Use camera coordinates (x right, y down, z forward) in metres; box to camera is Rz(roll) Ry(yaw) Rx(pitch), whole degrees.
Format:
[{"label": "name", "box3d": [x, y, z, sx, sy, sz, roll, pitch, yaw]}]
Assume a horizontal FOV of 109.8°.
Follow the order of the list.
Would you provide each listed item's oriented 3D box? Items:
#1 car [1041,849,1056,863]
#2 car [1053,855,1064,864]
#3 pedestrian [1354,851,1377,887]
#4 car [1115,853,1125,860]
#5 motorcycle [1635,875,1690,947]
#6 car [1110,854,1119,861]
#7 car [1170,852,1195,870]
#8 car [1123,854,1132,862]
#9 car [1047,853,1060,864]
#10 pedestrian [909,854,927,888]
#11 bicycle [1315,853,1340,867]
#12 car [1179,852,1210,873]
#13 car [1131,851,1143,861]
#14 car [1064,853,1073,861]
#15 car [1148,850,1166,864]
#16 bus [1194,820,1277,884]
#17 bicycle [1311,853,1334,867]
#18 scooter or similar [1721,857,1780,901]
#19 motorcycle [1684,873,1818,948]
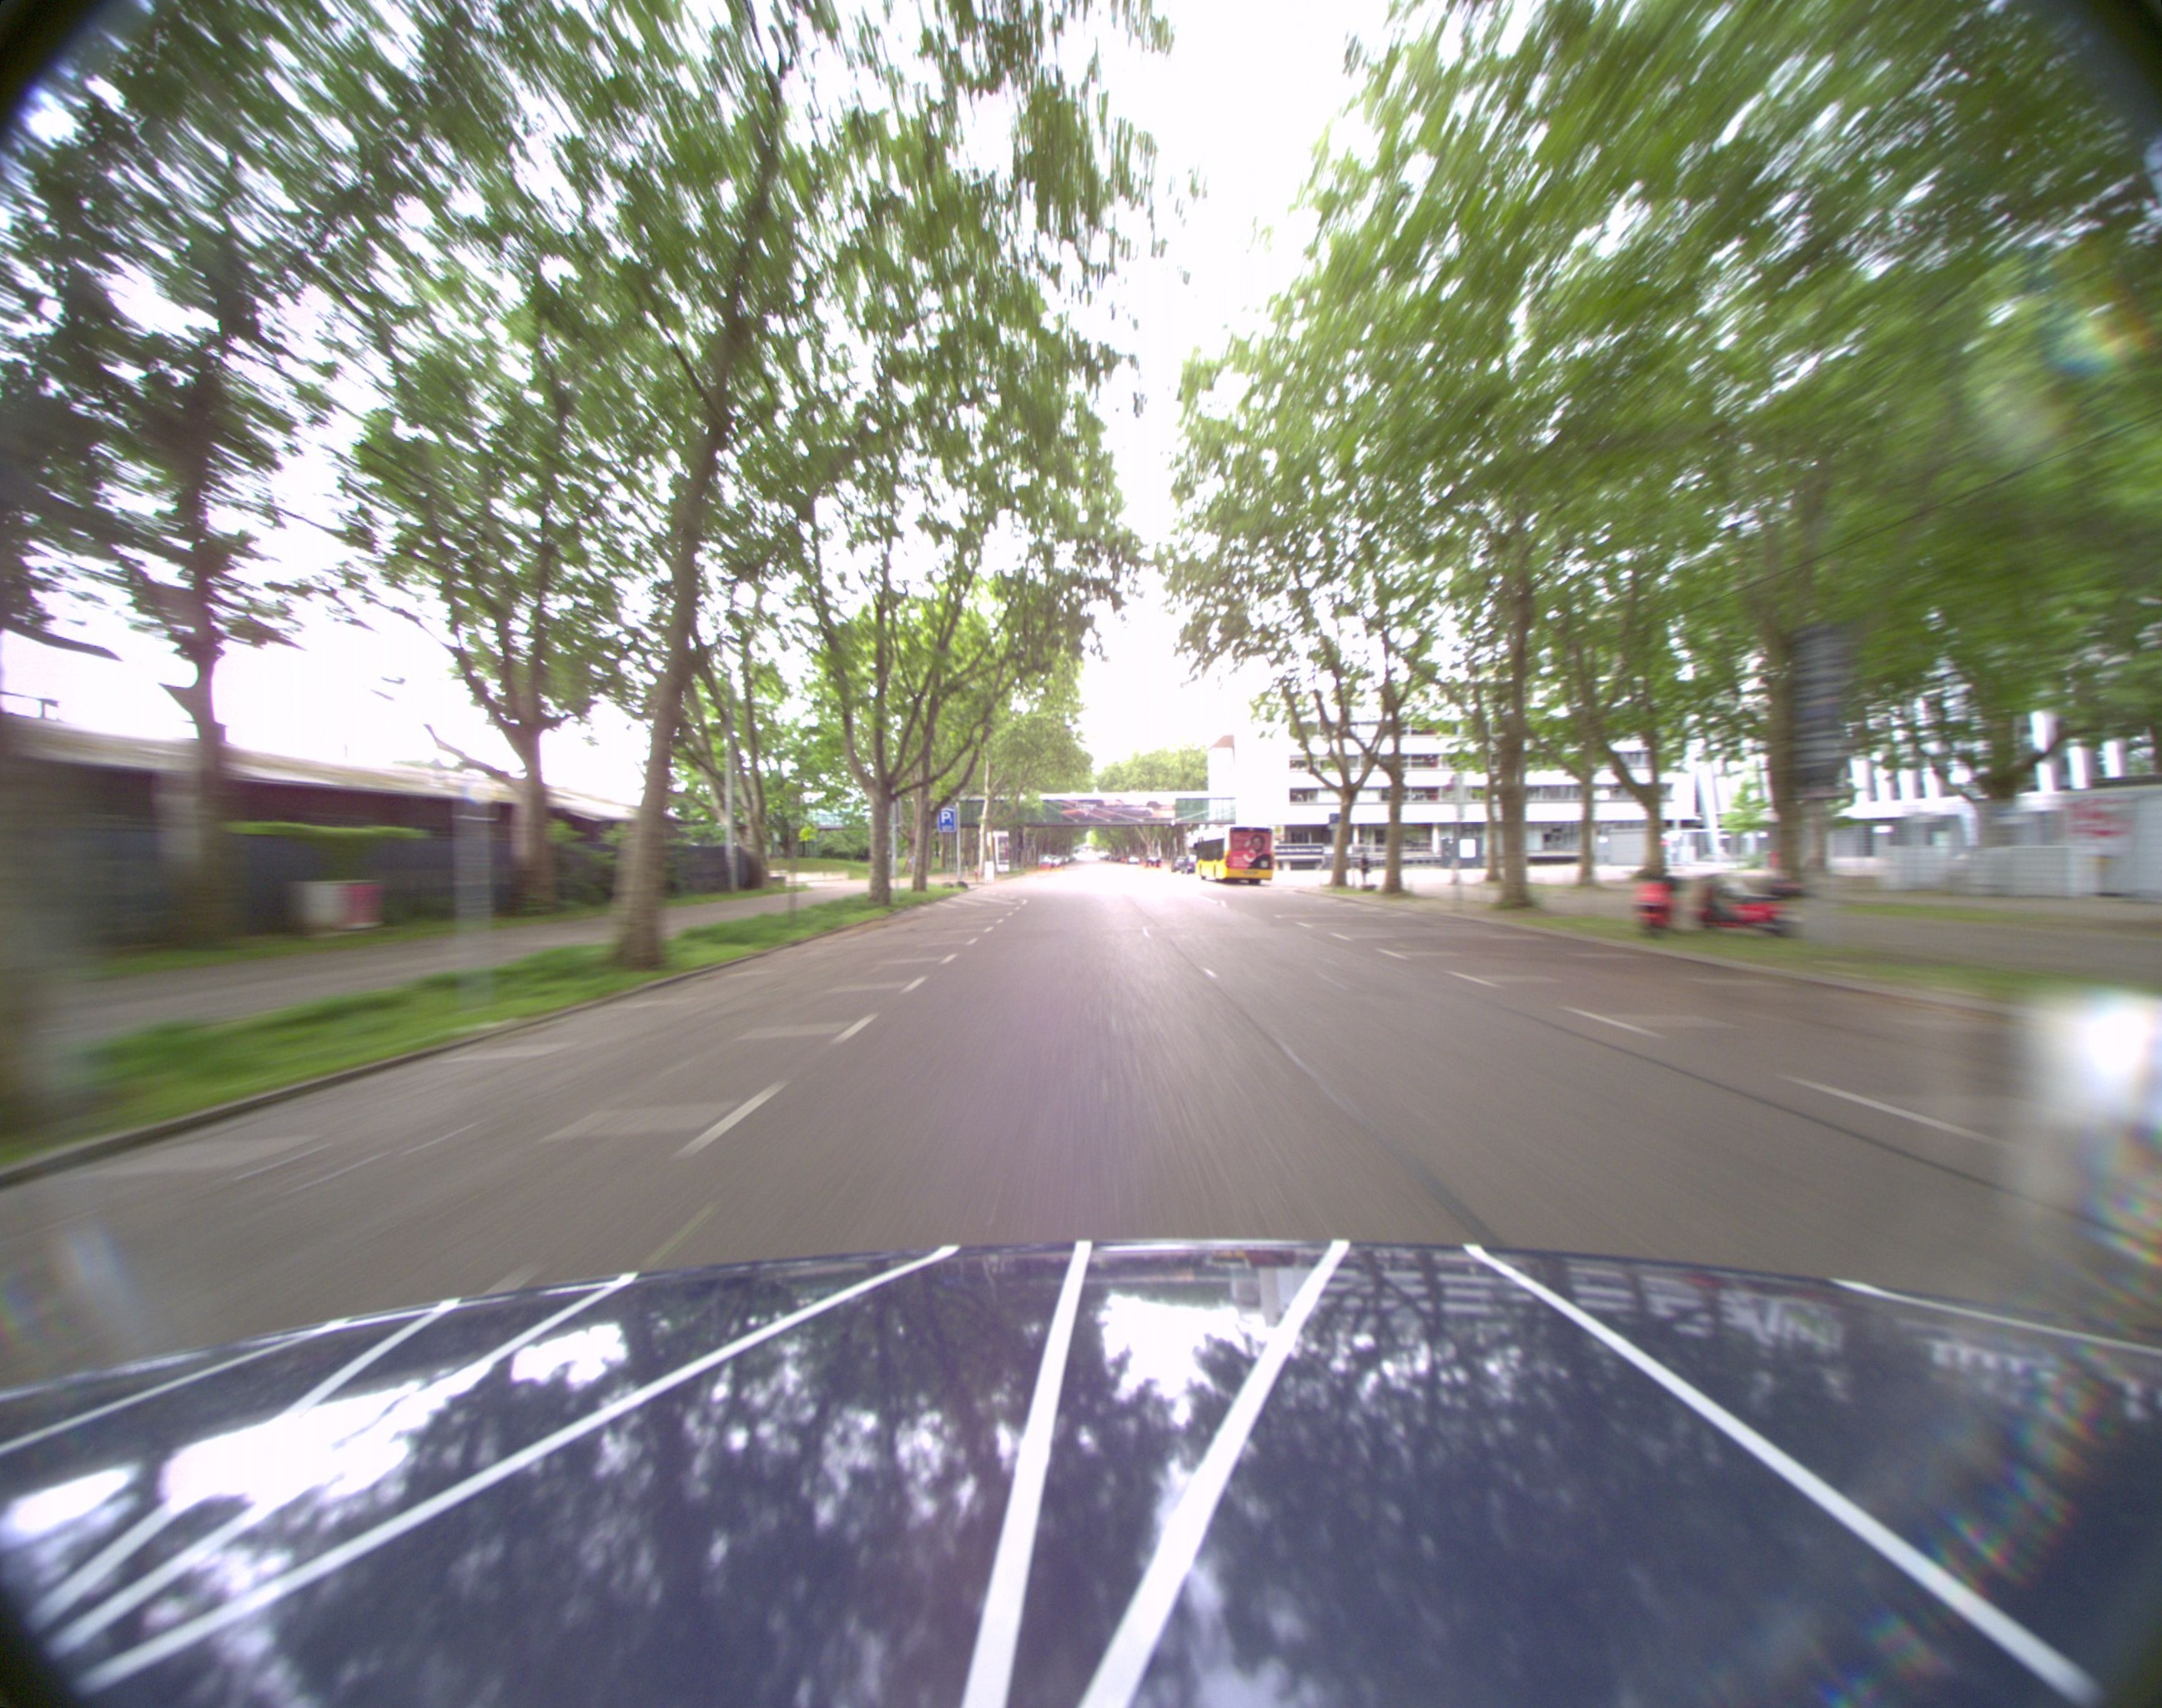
[{"label": "car", "box3d": [-4.109, 0.218, 96.322, 1.757, 1.687, 4.497, -1, 0, -1]}, {"label": "car", "box3d": [-4.038, 0.906, 135.265, 1.921, 1.561, 4.497, -1, 0, -1]}, {"label": "pedestrian", "box3d": [12.940, 0.675, 34.535, 0.663, 1.580, 0.912, -2, 1, 0]}, {"label": "car", "box3d": [8.804, 0.630, 171.189, 1.921, 1.561, 4.497, -1, 0, -1]}, {"label": "motorcycle", "box3d": [10.865, 1.016, 14.171, 0.573, 1.151, 2.081, -1, 1, 44]}, {"label": "car", "box3d": [8.079, 0.749, 182.656, 1.921, 1.561, 4.497, -1, 0, -1]}, {"label": "car", "box3d": [9.481, 0.621, 71.037, 1.758, 1.505, 4.009, 3, 0, 0]}, {"label": "car", "box3d": [9.405, 0.804, 152.806, 1.757, 1.652, 4.000, -2, 1, 3]}, {"label": "car", "box3d": [-4.041, 0.597, 112.640, 1.921, 1.561, 4.497, -1, 0, -1]}, {"label": "pedestrian", "box3d": [-9.824, 1.015, 45.924, 0.710, 2.002, 0.882, -2, 1, 9]}, {"label": "bicycle", "box3d": [21.299, 0.508, 65.596, 1.918, 1.180, 0.569, -2, 1, -2]}, {"label": "car", "box3d": [9.250, 0.637, 62.315, 1.758, 1.557, 4.386, 4, 0, -1]}, {"label": "car", "box3d": [9.532, 0.359, 129.114, 1.757, 1.652, 4.000, -2, 1, 1]}, {"label": "car", "box3d": [-2.618, 0.682, 160.109, 1.921, 1.561, 4.497, -1, 0, -1]}, {"label": "car", "box3d": [9.935, 0.370, 99.555, 1.929, 1.721, 4.233, 3, 0, 0]}, {"label": "bus", "box3d": [8.754, -0.152, 44.677, 2.658, 3.136, 12.369, 2, 1, 2]}, {"label": "bicycle", "box3d": [21.211, 0.518, 66.822, 1.830, 1.180, 0.470, -2, 1, -2]}, {"label": "scooter or similar", "box3d": [18.638, 0.692, 21.159, 1.185, 1.166, 0.445, -2, 1, 5]}, {"label": "motorcycle", "box3d": [11.853, 0.951, 13.547, 0.574, 1.151, 2.077, -2, 1, 1]}]
